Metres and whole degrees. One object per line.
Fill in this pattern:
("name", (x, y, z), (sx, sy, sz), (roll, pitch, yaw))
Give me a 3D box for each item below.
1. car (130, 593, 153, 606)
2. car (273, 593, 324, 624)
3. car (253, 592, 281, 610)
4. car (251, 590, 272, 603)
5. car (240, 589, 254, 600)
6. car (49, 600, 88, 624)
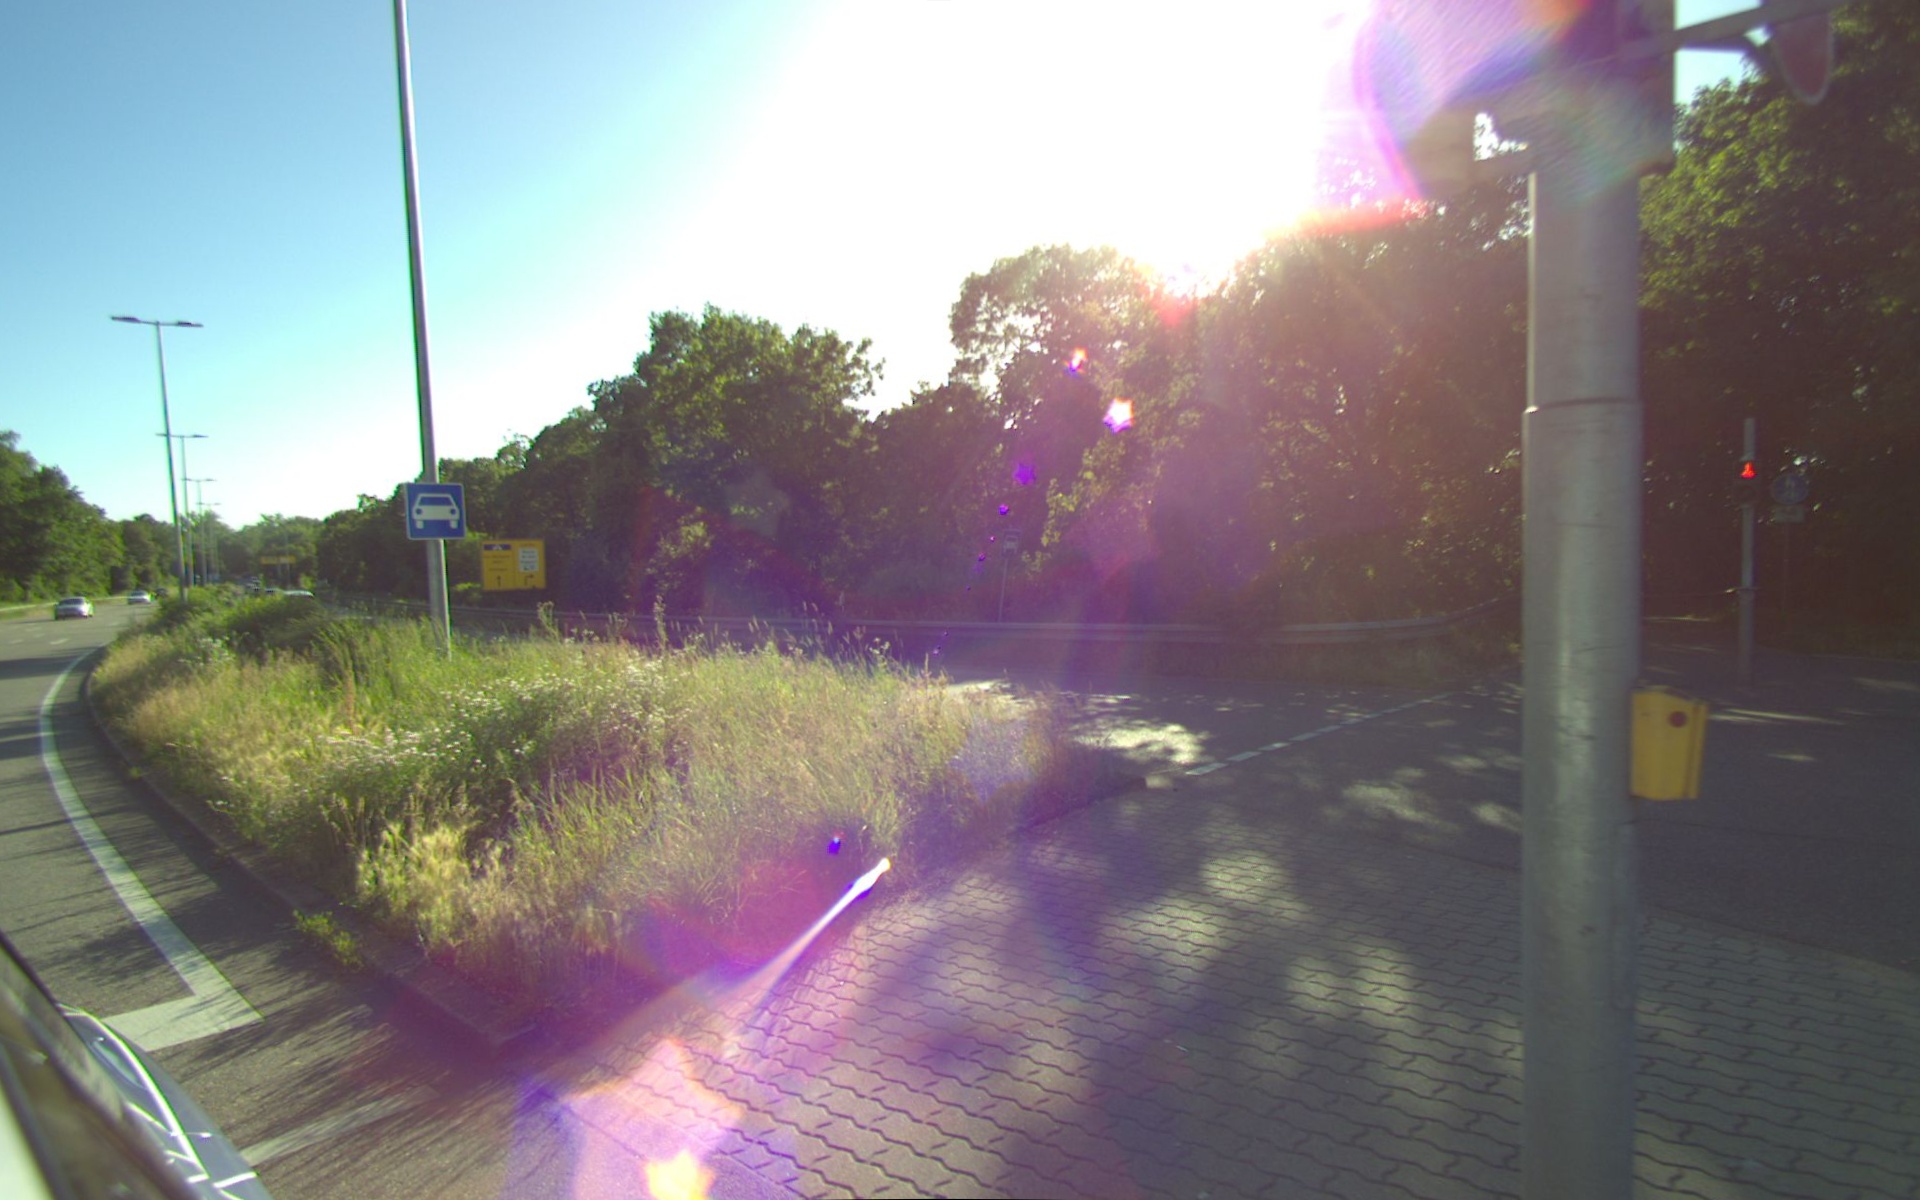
("car", (-93.501, -0.048, 115.681), (1.881, 1.497, 3.352), (-3, 1, -37))
("car", (-34.849, 0.454, 53.265), (1.861, 1.532, 4.225), (-2, 1, -38))
("car", (-58.107, 0.088, 84.837), (1.860, 1.431, 4.375), (-1, 1, -35))
("car", (-82.727, -0.427, 119.879), (1.782, 1.427, 4.541), (-2, 1, -38))
("car", (-113.501, -0.920, 161.132), (1.665, 1.700, 3.631), (-3, 1, -36))
("car", (-60.059, 0.782, 68.233), (1.656, 1.497, 3.398), (-3, 1, -37))
